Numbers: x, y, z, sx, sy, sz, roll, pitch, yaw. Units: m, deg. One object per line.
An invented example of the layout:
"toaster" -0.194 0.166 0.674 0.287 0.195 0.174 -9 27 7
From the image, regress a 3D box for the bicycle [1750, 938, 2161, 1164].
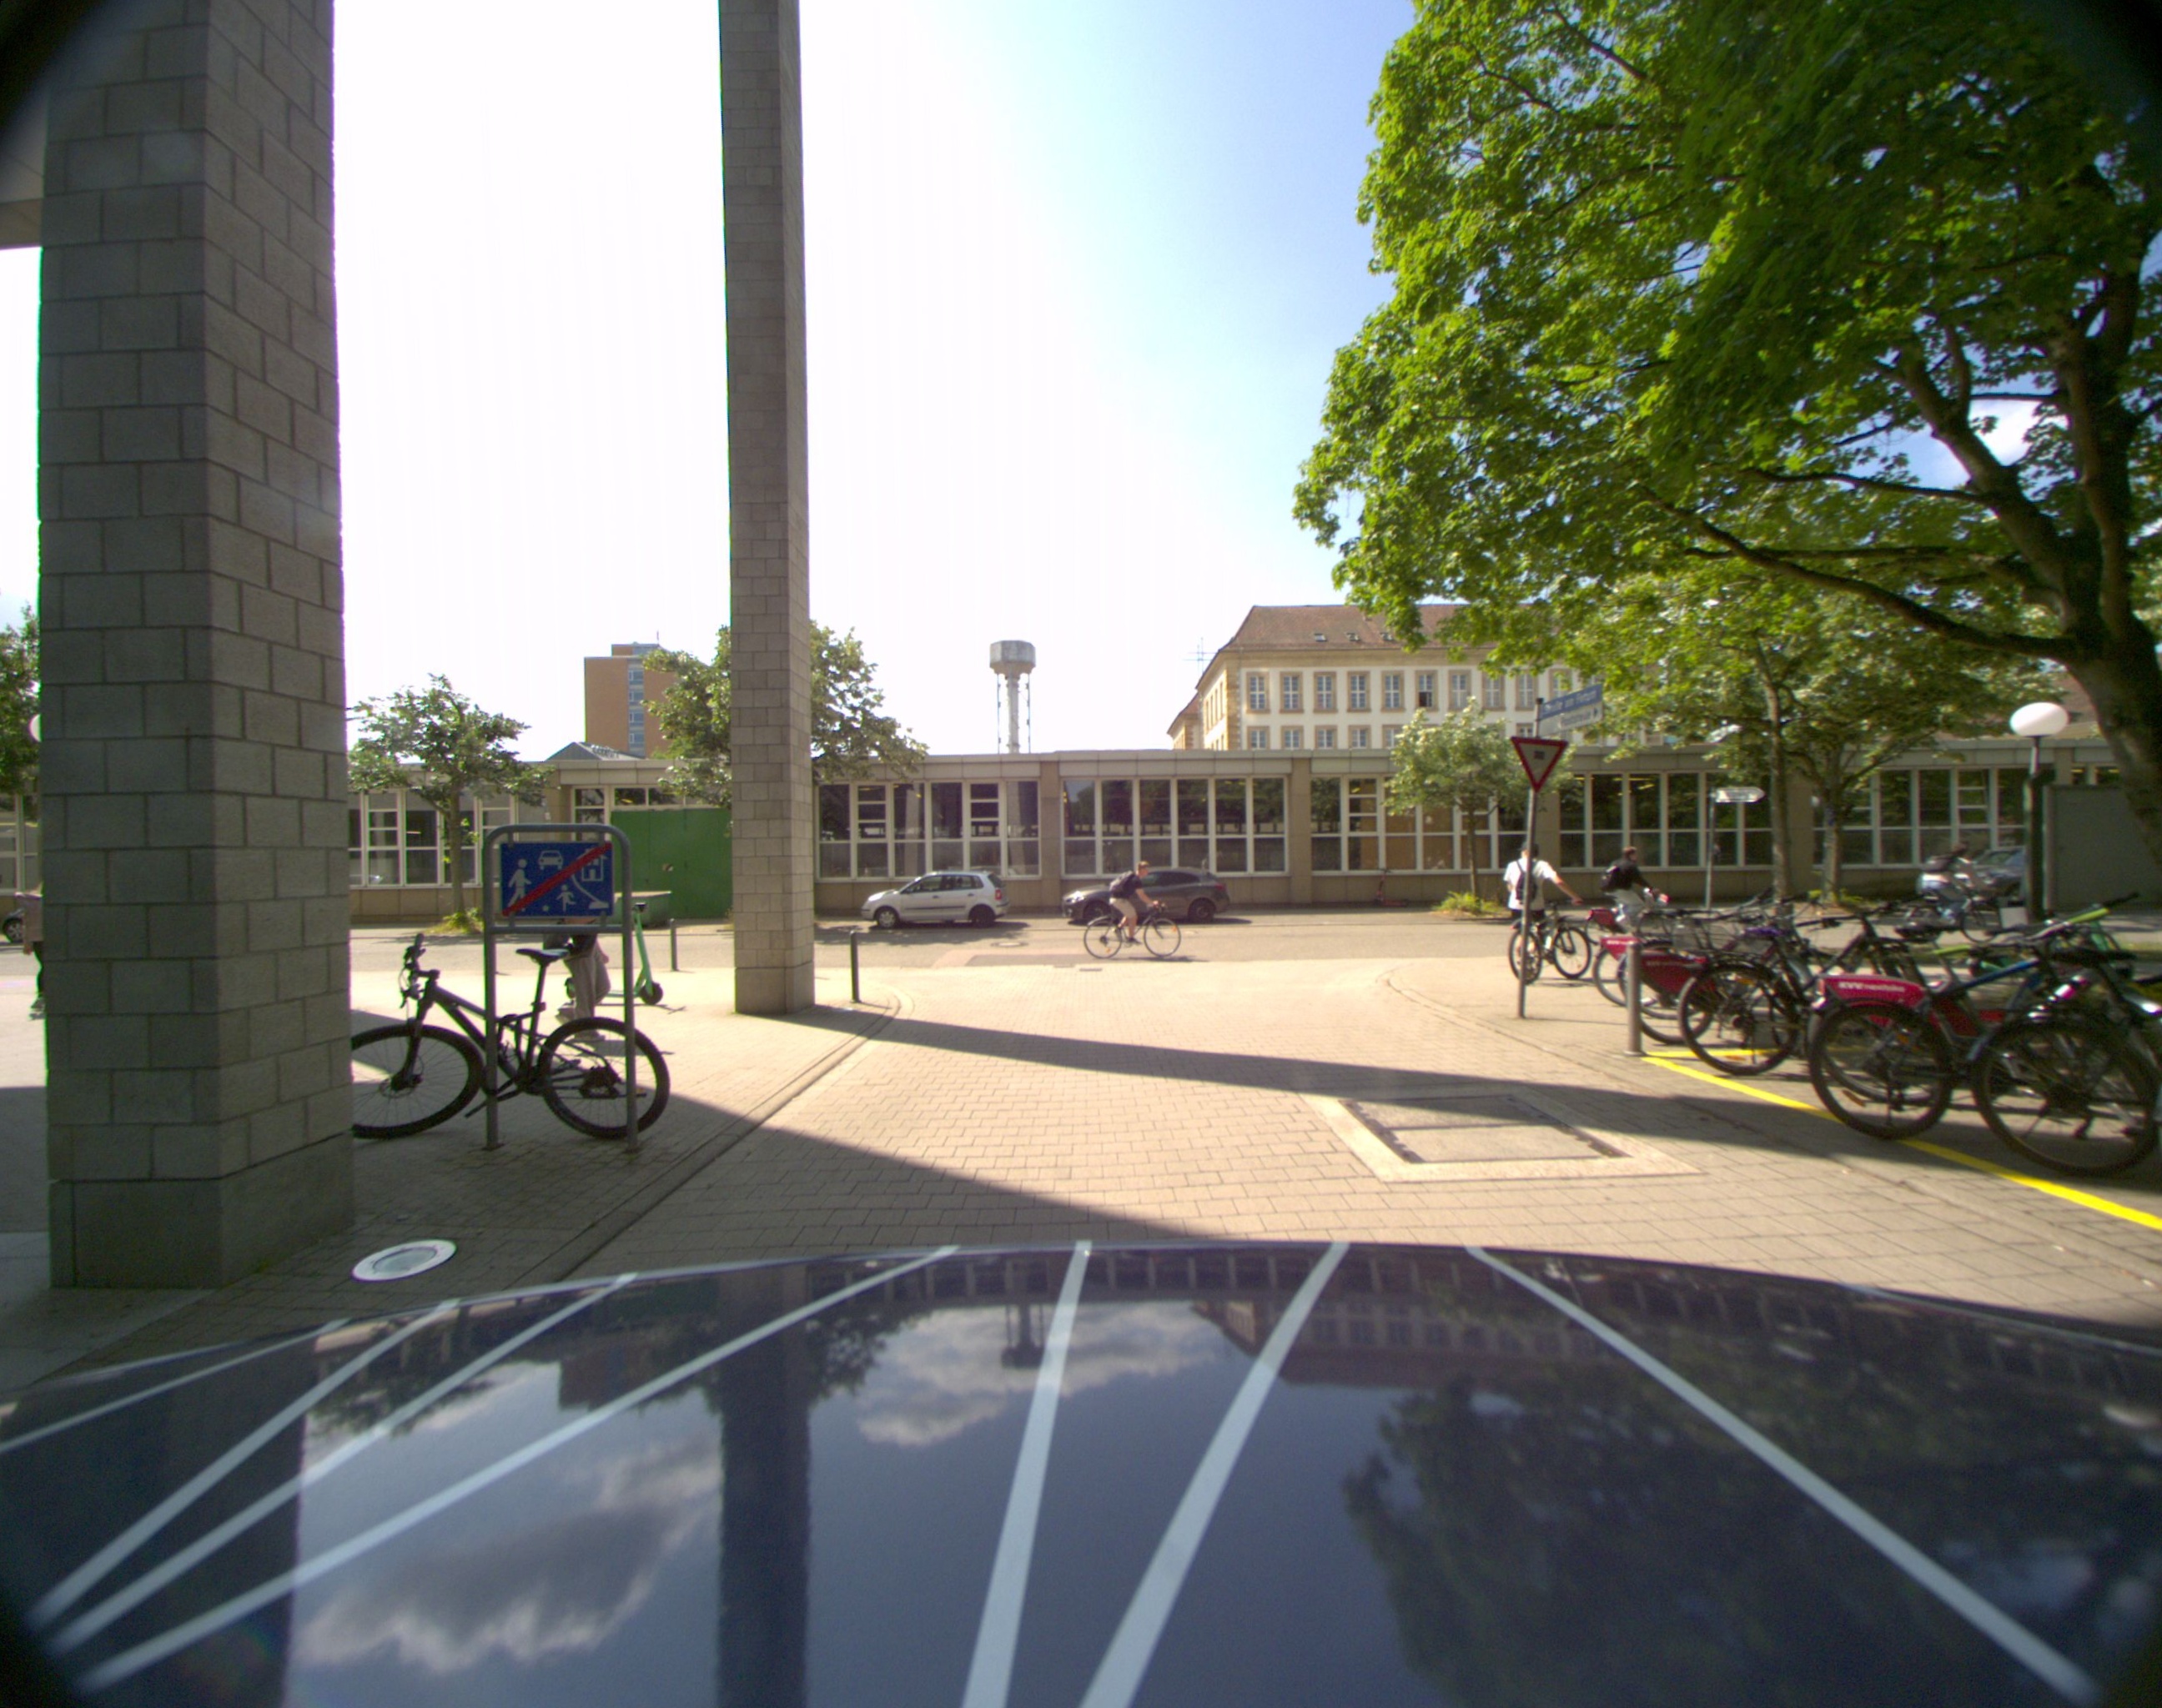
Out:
"bicycle" 4.866 1.044 4.246 1.627 1.101 0.497 -2 -2 12

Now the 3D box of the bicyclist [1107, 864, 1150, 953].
"bicyclist" 0.836 0.953 13.540 0.727 1.526 0.605 -1 2 2

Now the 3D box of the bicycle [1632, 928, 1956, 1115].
"bicycle" 4.657 1.075 5.025 1.628 1.101 0.497 -1 -2 0

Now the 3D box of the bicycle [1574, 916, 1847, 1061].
"bicycle" 5.404 1.114 6.675 1.742 1.101 0.591 -2 -2 30

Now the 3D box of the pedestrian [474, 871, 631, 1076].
"pedestrian" -4.563 0.984 6.623 0.883 1.645 0.702 -1 0 -11

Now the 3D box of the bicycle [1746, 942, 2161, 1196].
"bicycle" 4.380 1.035 3.773 1.628 1.101 0.497 -2 1 5

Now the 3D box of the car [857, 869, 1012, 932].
"car" -3.819 1.213 20.267 3.776 1.468 1.653 -1 2 0

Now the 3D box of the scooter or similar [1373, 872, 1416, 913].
"scooter or similar" 9.565 1.162 23.165 1.157 1.219 0.290 -1 0 3

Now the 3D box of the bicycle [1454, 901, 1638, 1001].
"bicycle" 5.856 1.190 9.620 1.886 1.164 0.805 0 -2 -8

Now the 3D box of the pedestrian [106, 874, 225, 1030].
"pedestrian" -10.830 1.107 9.026 0.781 1.714 0.858 -1 0 -43

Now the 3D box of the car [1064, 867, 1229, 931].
"car" 1.694 1.167 20.362 4.208 1.468 1.653 -2 2 0

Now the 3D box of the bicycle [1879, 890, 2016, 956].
"bicycle" 15.670 1.235 13.758 1.818 1.102 0.640 -1 2 -3

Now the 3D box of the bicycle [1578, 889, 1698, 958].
"bicycle" 10.276 1.266 14.029 1.887 1.134 0.674 -2 1 -11

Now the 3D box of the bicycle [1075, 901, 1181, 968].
"bicycle" 0.825 1.417 13.550 1.829 1.102 0.605 -1 2 2

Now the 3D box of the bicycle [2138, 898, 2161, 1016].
"bicycle" 11.196 0.956 7.269 1.839 1.101 0.393 -2 1 -6

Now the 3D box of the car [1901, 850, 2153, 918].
"car" 25.087 0.761 20.270 4.536 1.608 1.838 -1 1 -2

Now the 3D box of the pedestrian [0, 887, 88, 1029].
"pedestrian" -12.504 1.209 9.144 0.824 1.589 0.591 -1 0 43

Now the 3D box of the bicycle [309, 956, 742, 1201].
"bicycle" -2.965 1.183 4.202 1.886 1.157 0.605 0 -1 -4

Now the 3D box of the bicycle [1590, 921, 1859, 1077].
"bicycle" 4.966 1.105 5.918 1.628 1.101 0.497 -1 -2 0

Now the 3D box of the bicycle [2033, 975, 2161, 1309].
"bicycle" 4.573 1.013 2.637 1.628 1.101 0.629 -2 1 5

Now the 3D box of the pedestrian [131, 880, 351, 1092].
"pedestrian" -6.818 1.015 6.233 0.820 1.565 0.880 -1 0 -10

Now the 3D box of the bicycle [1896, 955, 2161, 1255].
"bicycle" 4.576 1.016 3.201 1.628 1.101 0.497 -2 1 5

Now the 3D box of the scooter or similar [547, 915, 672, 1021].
"scooter or similar" -5.390 1.294 8.709 1.157 1.144 0.444 -1 0 5

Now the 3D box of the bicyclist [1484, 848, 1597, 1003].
"bicyclist" 5.949 0.882 9.869 0.868 1.881 0.804 -3 1 -14

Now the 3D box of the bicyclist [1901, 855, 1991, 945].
"bicyclist" 15.621 0.821 13.736 0.874 1.565 0.640 -1 2 -3

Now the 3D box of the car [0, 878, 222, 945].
"car" -26.139 1.510 20.327 4.131 1.569 1.851 -1 1 -1

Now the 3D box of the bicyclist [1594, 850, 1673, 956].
"bicyclist" 10.170 0.881 14.006 0.969 1.877 0.674 -2 1 -11

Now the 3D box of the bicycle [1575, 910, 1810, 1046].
"bicycle" 5.731 1.120 7.250 1.625 1.152 0.641 -2 -2 29

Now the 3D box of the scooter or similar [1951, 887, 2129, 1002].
"scooter or similar" 10.588 0.967 8.431 1.182 1.187 0.293 -1 0 36
